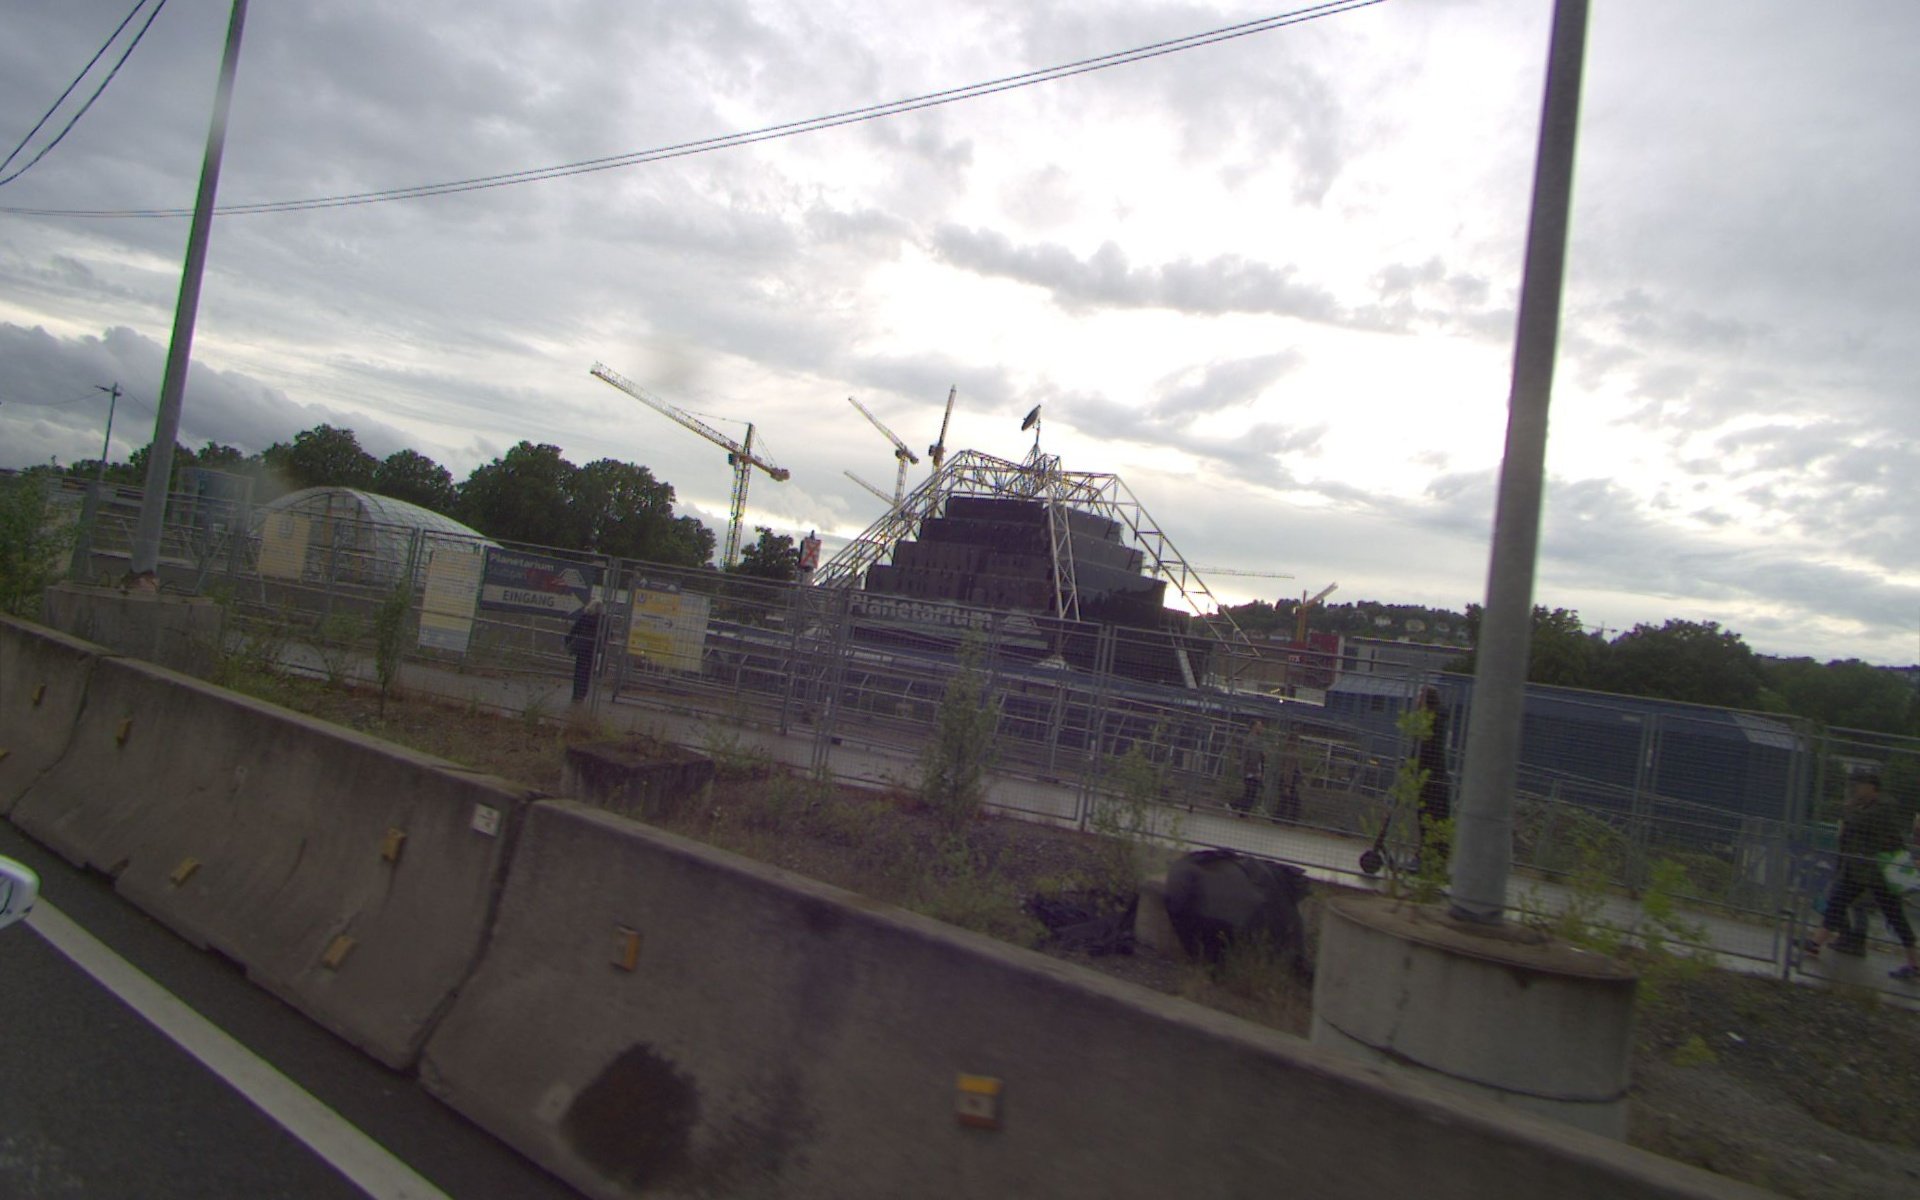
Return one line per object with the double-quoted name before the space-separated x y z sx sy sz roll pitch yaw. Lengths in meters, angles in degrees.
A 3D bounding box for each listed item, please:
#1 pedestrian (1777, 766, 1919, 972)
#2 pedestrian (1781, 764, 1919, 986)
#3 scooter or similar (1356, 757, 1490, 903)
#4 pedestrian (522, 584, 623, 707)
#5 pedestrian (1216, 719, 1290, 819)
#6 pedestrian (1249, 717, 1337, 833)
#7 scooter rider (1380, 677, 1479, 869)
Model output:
"pedestrian" 9.111 2.679 10.207 1.005 1.798 0.728 6 -2 27
"pedestrian" 8.457 2.522 9.355 1.005 1.798 0.692 6 -2 25
"scooter or similar" 4.653 2.277 10.114 1.077 1.193 0.492 7 -1 29
"pedestrian" -5.764 0.690 15.042 0.882 1.677 1.024 7 -2 3
"pedestrian" 4.905 2.815 16.885 0.876 1.489 0.692 7 -2 0
"pedestrian" 5.292 2.766 16.021 1.004 1.651 0.692 7 -2 0
"scooter rider" 4.732 1.713 10.124 0.687 1.776 0.522 7 -1 29
